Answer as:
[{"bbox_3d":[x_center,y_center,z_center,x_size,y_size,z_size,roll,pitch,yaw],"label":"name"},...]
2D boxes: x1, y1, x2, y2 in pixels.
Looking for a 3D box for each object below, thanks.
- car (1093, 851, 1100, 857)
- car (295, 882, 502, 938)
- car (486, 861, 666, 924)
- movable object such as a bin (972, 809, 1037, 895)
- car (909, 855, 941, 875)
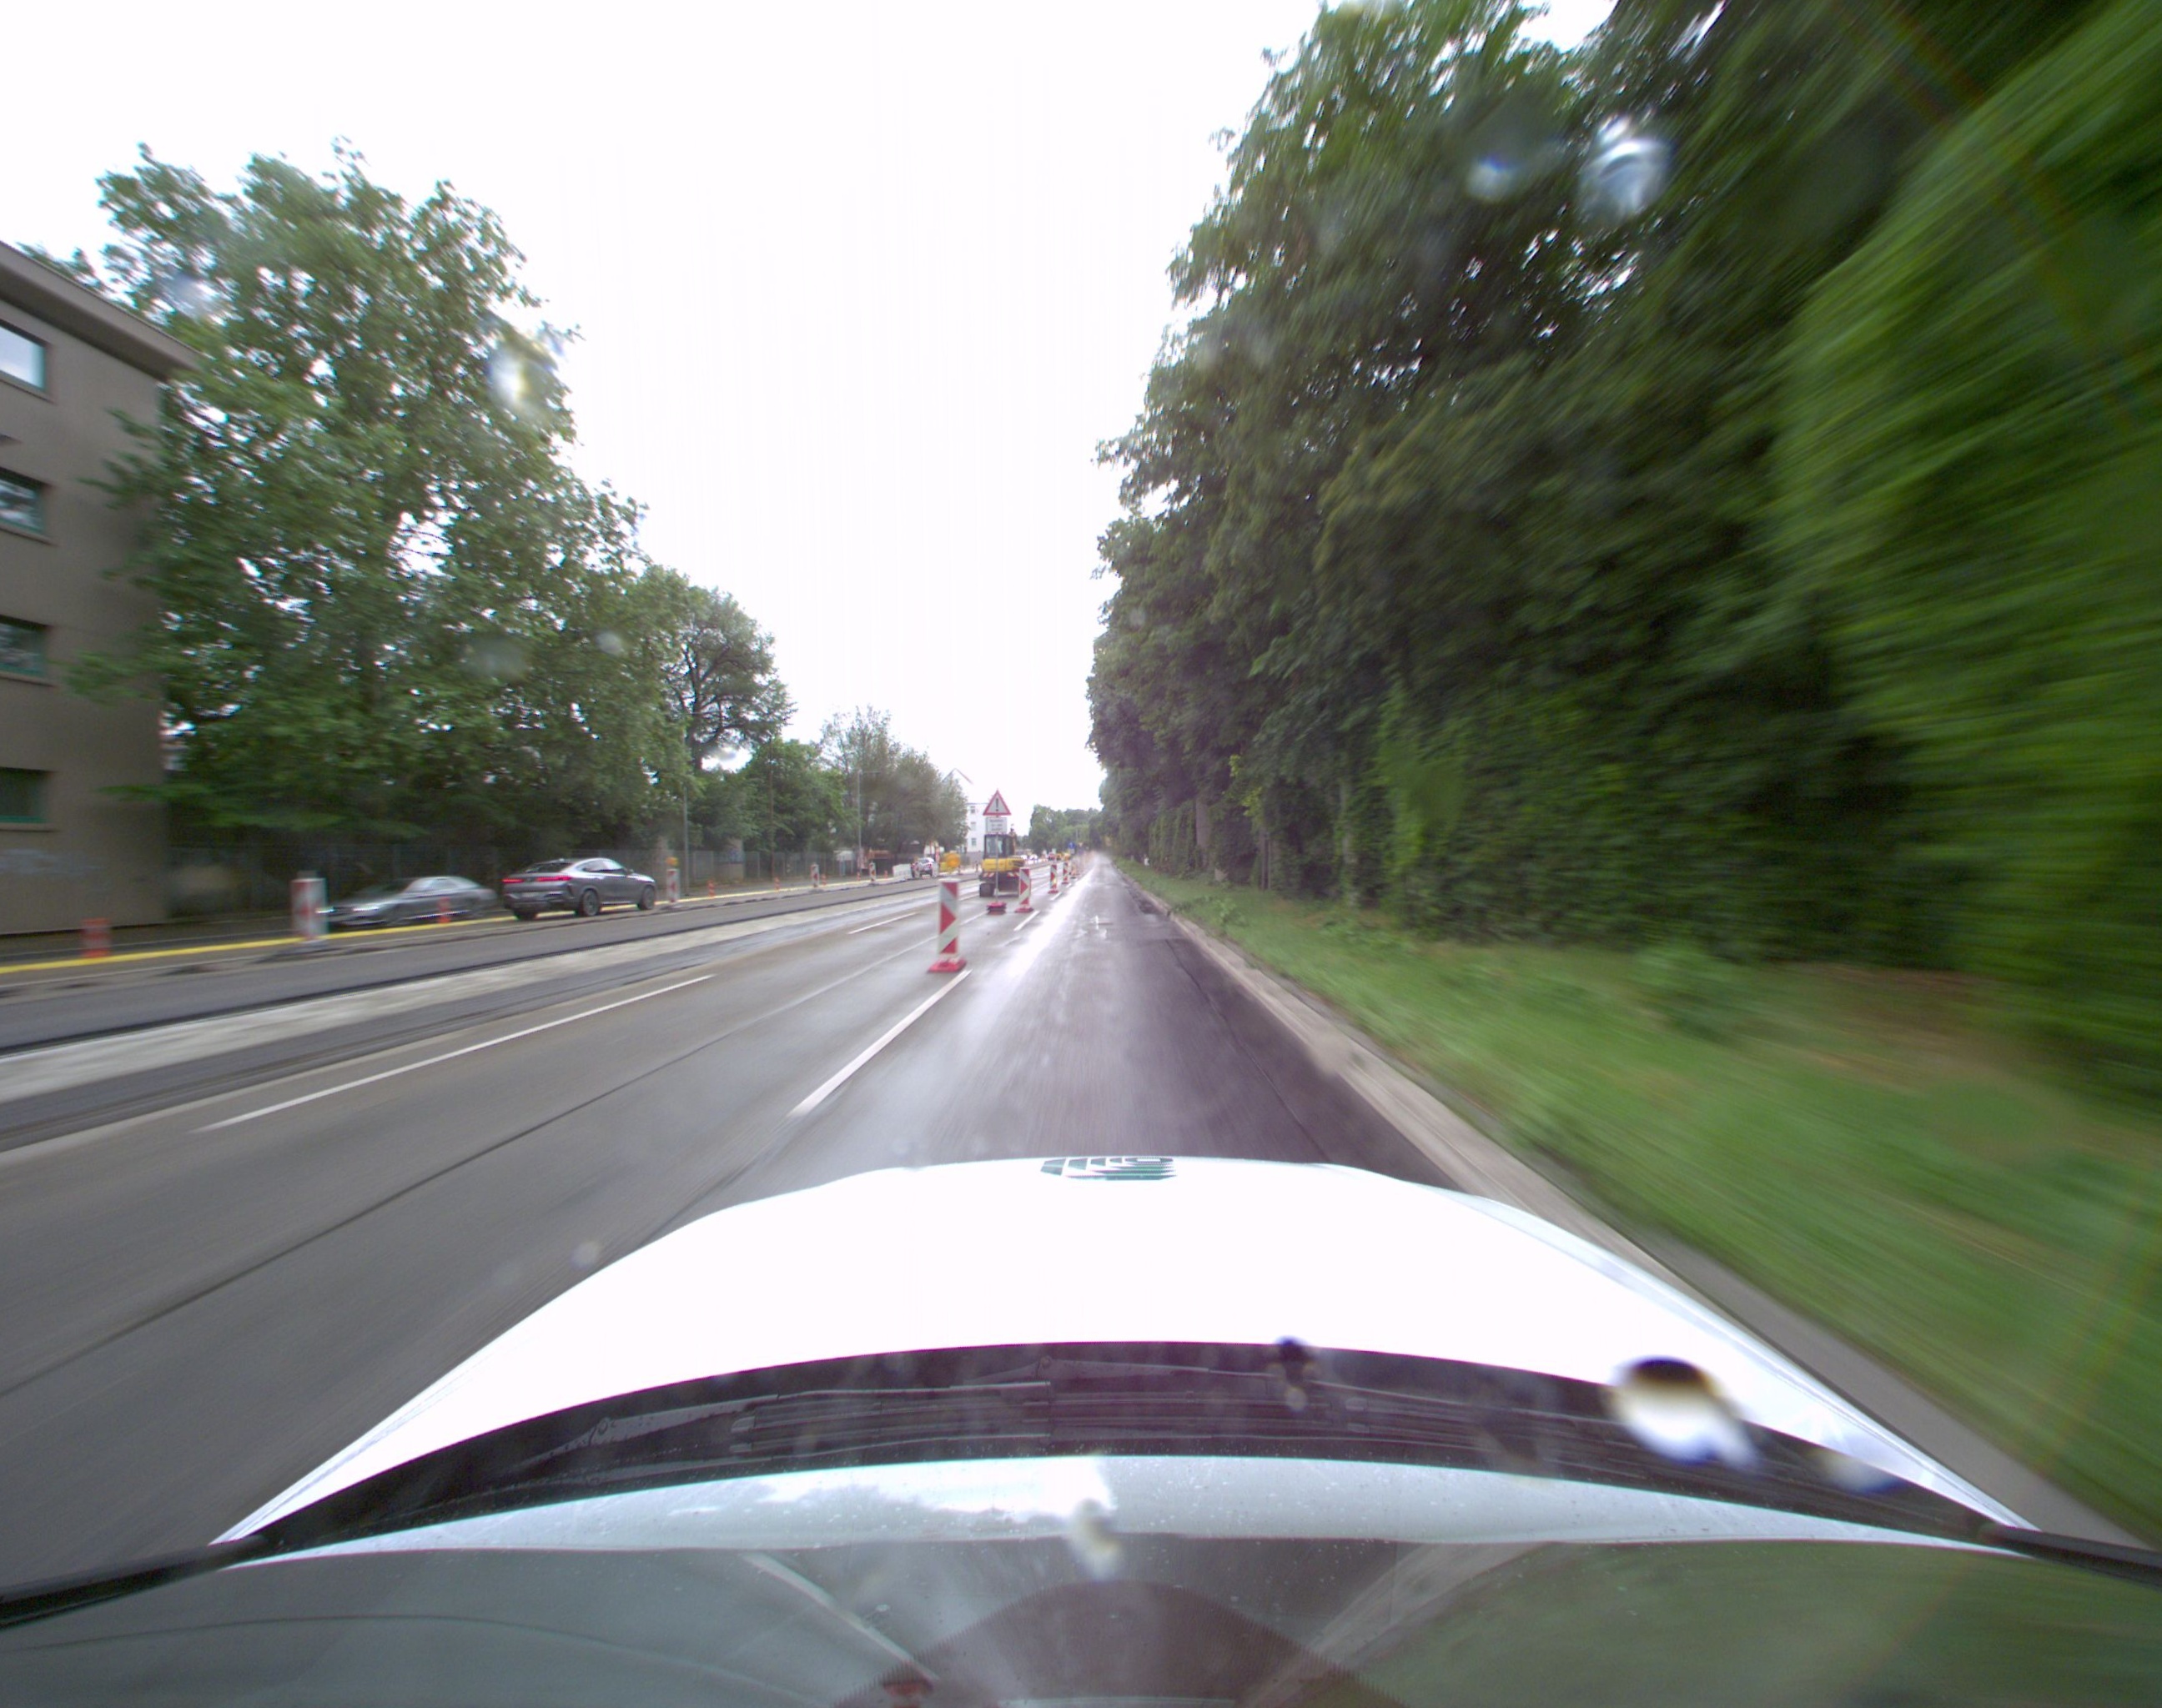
[{"bbox_3d":[4.231,0.083,225.671,1.986,1.673,4.001,-1,-1,2],"label":"car"},{"bbox_3d":[-19.950,1.581,24.152,1.986,1.348,4.792,-1,0,2],"label":"car"},{"bbox_3d":[-14.553,1.029,23.914,2.069,1.613,5.057,-1,0,1],"label":"car"},{"bbox_3d":[-3.166,-0.057,34.897,1.986,3.367,5.984,-1,-1,2],"label":"movable object such as a bin"},{"bbox_3d":[-13.367,0.940,70.054,1.848,1.648,4.001,-1,-1,1],"label":"car"}]
